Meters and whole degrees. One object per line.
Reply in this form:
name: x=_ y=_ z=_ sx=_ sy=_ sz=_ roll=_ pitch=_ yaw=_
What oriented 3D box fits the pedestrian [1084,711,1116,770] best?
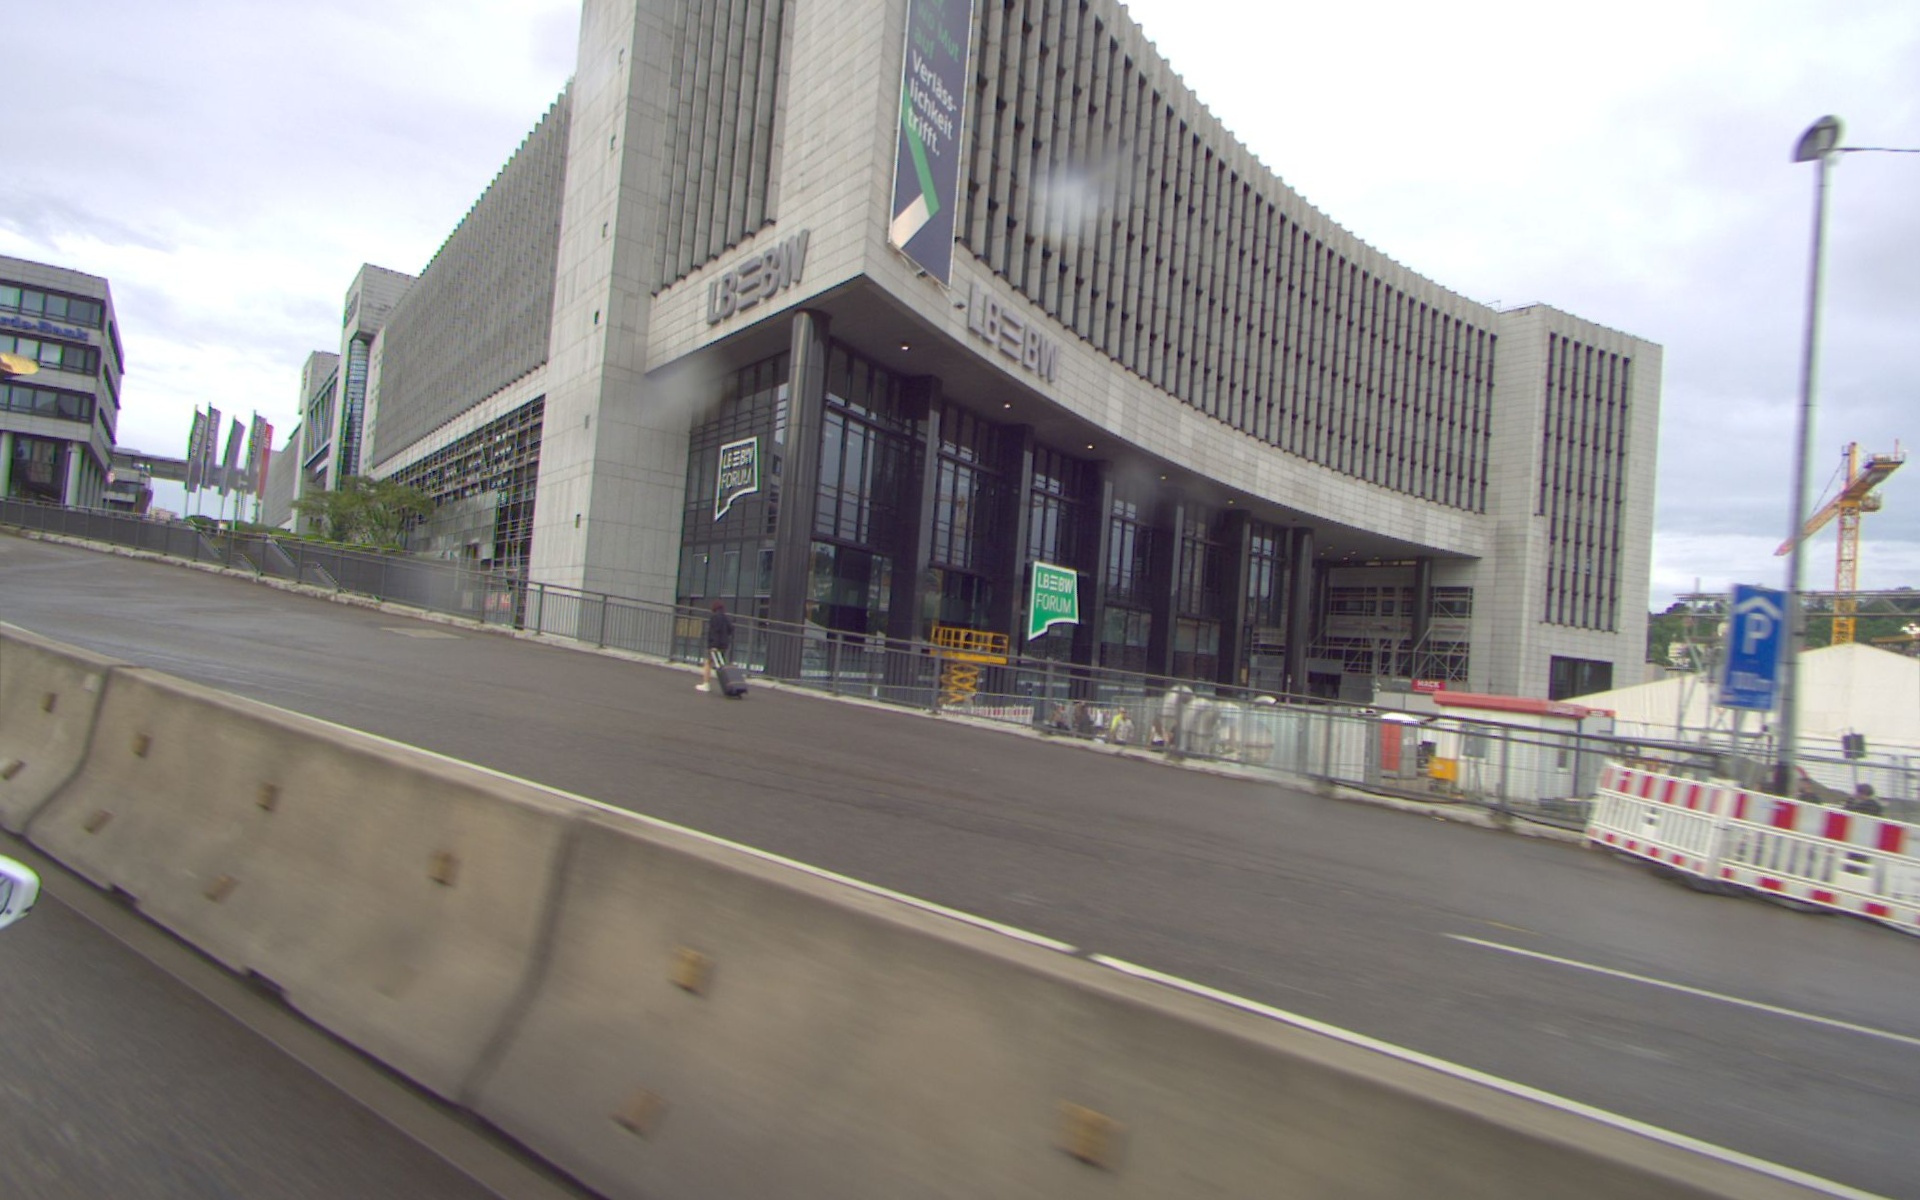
pedestrian: x=4.188 y=4.203 z=30.178 sx=0.594 sy=1.656 sz=0.770 roll=5 pitch=-2 yaw=-10

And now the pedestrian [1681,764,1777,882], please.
pedestrian: x=12.096 y=3.478 z=15.833 sx=0.718 sy=1.656 sz=0.910 roll=6 pitch=-2 yaw=-29

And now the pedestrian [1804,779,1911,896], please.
pedestrian: x=14.551 y=3.827 z=16.326 sx=0.859 sy=1.656 sz=1.001 roll=6 pitch=-2 yaw=-29

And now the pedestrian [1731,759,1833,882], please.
pedestrian: x=13.475 y=3.585 z=16.495 sx=0.765 sy=1.804 sz=1.001 roll=6 pitch=-2 yaw=-29

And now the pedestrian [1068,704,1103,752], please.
pedestrian: x=4.679 y=4.761 z=37.460 sx=0.855 sy=1.656 sz=1.006 roll=6 pitch=-2 yaw=-14

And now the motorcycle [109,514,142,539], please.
motorcycle: x=-48.518 y=-4.278 z=58.481 sx=0.609 sy=1.286 sz=1.244 roll=7 pitch=0 yaw=24

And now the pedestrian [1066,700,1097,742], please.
pedestrian: x=5.040 y=4.997 z=41.642 sx=0.854 sy=1.656 sz=1.007 roll=4 pitch=-2 yaw=28

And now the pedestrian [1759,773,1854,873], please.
pedestrian: x=15.274 y=4.002 z=18.163 sx=0.859 sy=1.571 sz=1.001 roll=6 pitch=-2 yaw=-29

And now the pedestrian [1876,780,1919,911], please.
pedestrian: x=14.271 y=3.623 z=14.718 sx=0.859 sy=1.802 sz=1.001 roll=6 pitch=-2 yaw=-29

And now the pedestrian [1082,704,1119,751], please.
pedestrian: x=5.363 y=4.874 z=38.446 sx=0.858 sy=1.656 sz=1.003 roll=6 pitch=-2 yaw=-25

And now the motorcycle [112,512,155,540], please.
motorcycle: x=-47.829 y=-4.258 z=58.244 sx=0.595 sy=1.371 sz=1.729 roll=7 pitch=0 yaw=24

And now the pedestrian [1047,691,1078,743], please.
pedestrian: x=3.386 y=3.883 z=33.364 sx=0.697 sy=1.635 sz=0.563 roll=6 pitch=-2 yaw=-26

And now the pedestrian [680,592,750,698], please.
pedestrian: x=-4.153 y=0.750 z=17.022 sx=0.724 sy=1.672 sz=1.053 roll=6 pitch=-1 yaw=-31

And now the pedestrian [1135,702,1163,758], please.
pedestrian: x=6.620 y=4.541 z=35.261 sx=0.742 sy=1.837 sz=0.642 roll=5 pitch=-1 yaw=1

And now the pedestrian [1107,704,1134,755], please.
pedestrian: x=5.602 y=4.507 z=35.134 sx=0.727 sy=1.656 sz=0.654 roll=5 pitch=-1 yaw=1

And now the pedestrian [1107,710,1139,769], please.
pedestrian: x=4.907 y=4.188 z=30.310 sx=0.577 sy=1.656 sz=0.751 roll=5 pitch=-1 yaw=-10

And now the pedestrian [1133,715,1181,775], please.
pedestrian: x=5.931 y=4.348 z=30.296 sx=0.859 sy=1.656 sz=1.001 roll=6 pitch=-2 yaw=-29

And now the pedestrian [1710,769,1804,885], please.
pedestrian: x=12.791 y=3.614 z=16.151 sx=0.692 sy=1.656 sz=0.910 roll=6 pitch=-2 yaw=-29

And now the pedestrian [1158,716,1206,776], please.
pedestrian: x=6.795 y=4.464 z=30.785 sx=0.859 sy=1.656 sz=1.001 roll=6 pitch=-2 yaw=-29
